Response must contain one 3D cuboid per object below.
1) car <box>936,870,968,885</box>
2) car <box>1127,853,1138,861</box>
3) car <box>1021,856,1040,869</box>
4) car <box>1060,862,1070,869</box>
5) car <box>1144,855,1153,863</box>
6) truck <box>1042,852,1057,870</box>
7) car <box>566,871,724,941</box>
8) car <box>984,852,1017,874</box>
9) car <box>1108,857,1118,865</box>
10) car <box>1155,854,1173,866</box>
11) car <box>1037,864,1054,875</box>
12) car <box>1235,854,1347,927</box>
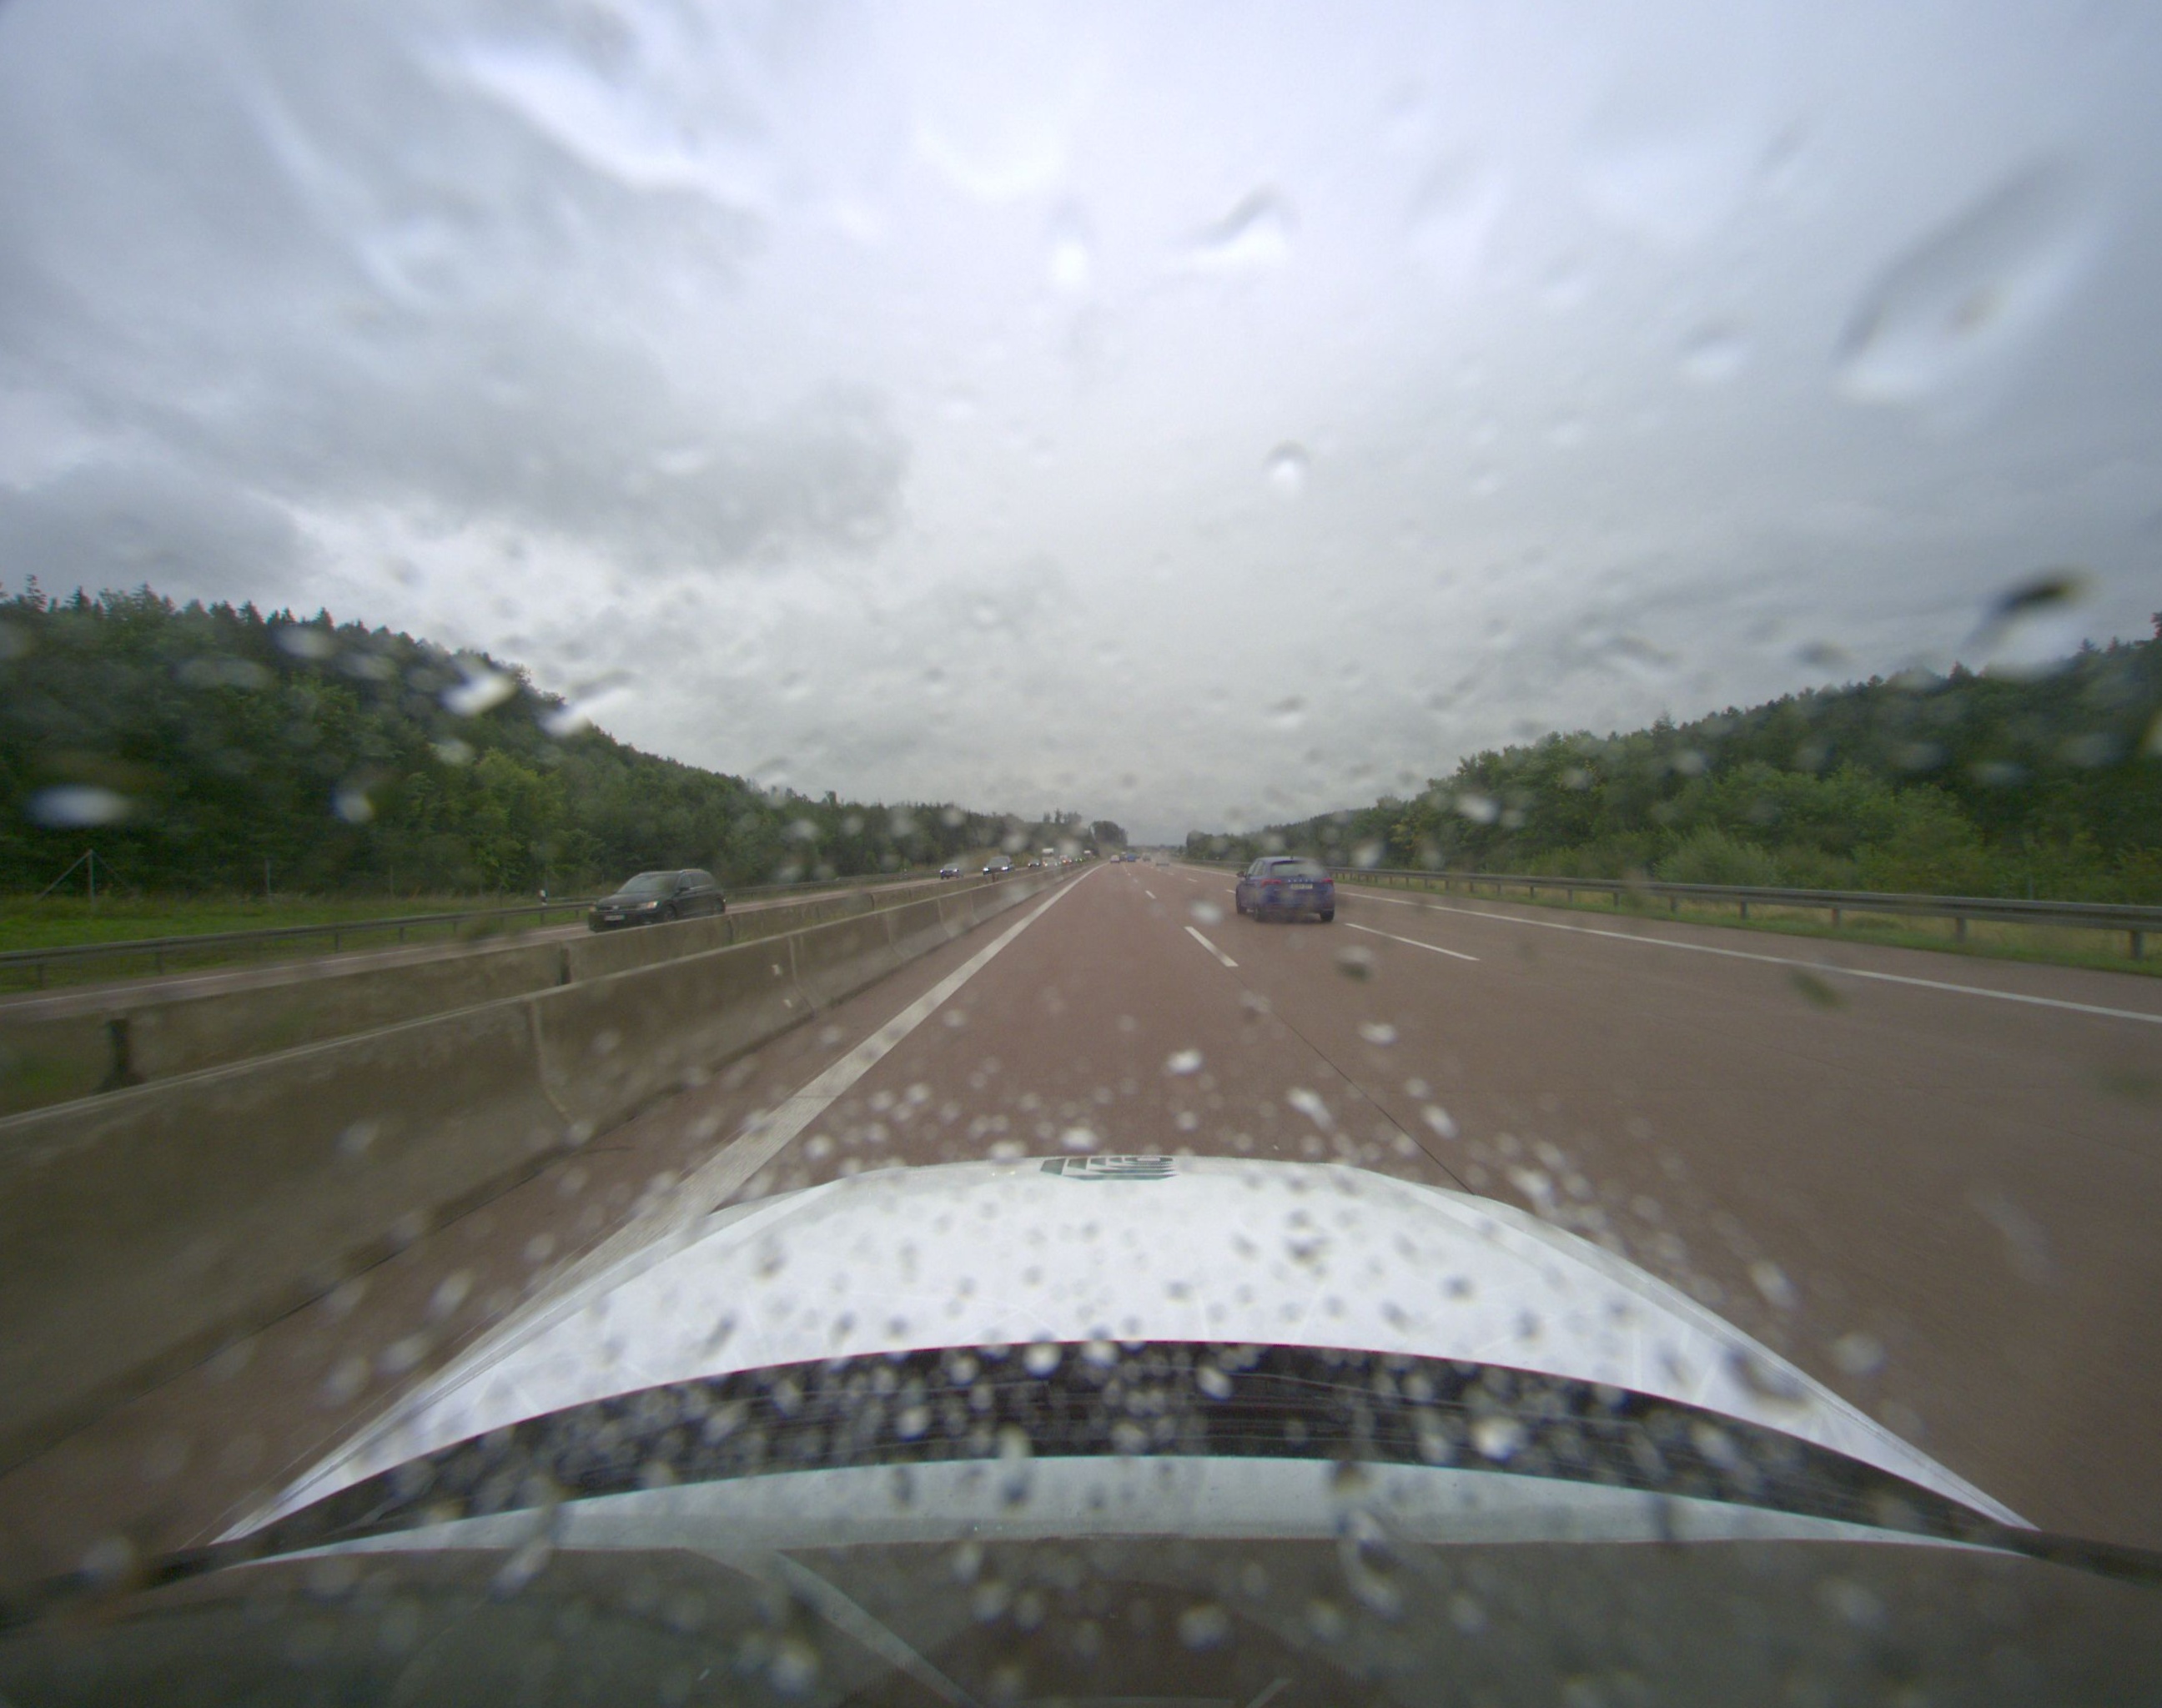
[{"bbox_3d":[-13.358,2.415,84.450,1.984,1.560,5.750,0,-1,4],"label":"car"},{"bbox_3d":[12.125,0.673,190.995,2.314,1.750,4.876,0,-1,1],"label":"car"},{"bbox_3d":[-7.786,1.314,126.355,2.271,1.861,5.731,0,-1,2],"label":"car"},{"bbox_3d":[-3.872,2.812,194.605,1.986,1.545,4.282,-3,-1,2],"label":"car"},{"bbox_3d":[16.950,1.306,205.742,1.987,2.014,3.999,0,-1,0],"label":"car"},{"bbox_3d":[-7.422,1.666,191.503,2.758,4.176,6.004,-3,-2,2],"label":"truck"},{"bbox_3d":[-11.251,1.282,21.384,1.709,1.582,4.317,-2,-1,1],"label":"car"},{"bbox_3d":[-6.112,0.662,62.010,1.858,1.551,4.810,0,0,2],"label":"car"},{"bbox_3d":[6.507,1.452,165.777,1.867,1.444,4.877,0,-1,1],"label":"car"},{"bbox_3d":[12.113,0.927,119.068,2.314,1.750,4.876,0,-1,1],"label":"car"},{"bbox_3d":[-4.889,2.132,112.927,1.986,1.560,4.948,0,-1,2],"label":"car"},{"bbox_3d":[4.865,0.826,19.441,1.764,1.564,4.149,0,-1,3],"label":"car"}]
